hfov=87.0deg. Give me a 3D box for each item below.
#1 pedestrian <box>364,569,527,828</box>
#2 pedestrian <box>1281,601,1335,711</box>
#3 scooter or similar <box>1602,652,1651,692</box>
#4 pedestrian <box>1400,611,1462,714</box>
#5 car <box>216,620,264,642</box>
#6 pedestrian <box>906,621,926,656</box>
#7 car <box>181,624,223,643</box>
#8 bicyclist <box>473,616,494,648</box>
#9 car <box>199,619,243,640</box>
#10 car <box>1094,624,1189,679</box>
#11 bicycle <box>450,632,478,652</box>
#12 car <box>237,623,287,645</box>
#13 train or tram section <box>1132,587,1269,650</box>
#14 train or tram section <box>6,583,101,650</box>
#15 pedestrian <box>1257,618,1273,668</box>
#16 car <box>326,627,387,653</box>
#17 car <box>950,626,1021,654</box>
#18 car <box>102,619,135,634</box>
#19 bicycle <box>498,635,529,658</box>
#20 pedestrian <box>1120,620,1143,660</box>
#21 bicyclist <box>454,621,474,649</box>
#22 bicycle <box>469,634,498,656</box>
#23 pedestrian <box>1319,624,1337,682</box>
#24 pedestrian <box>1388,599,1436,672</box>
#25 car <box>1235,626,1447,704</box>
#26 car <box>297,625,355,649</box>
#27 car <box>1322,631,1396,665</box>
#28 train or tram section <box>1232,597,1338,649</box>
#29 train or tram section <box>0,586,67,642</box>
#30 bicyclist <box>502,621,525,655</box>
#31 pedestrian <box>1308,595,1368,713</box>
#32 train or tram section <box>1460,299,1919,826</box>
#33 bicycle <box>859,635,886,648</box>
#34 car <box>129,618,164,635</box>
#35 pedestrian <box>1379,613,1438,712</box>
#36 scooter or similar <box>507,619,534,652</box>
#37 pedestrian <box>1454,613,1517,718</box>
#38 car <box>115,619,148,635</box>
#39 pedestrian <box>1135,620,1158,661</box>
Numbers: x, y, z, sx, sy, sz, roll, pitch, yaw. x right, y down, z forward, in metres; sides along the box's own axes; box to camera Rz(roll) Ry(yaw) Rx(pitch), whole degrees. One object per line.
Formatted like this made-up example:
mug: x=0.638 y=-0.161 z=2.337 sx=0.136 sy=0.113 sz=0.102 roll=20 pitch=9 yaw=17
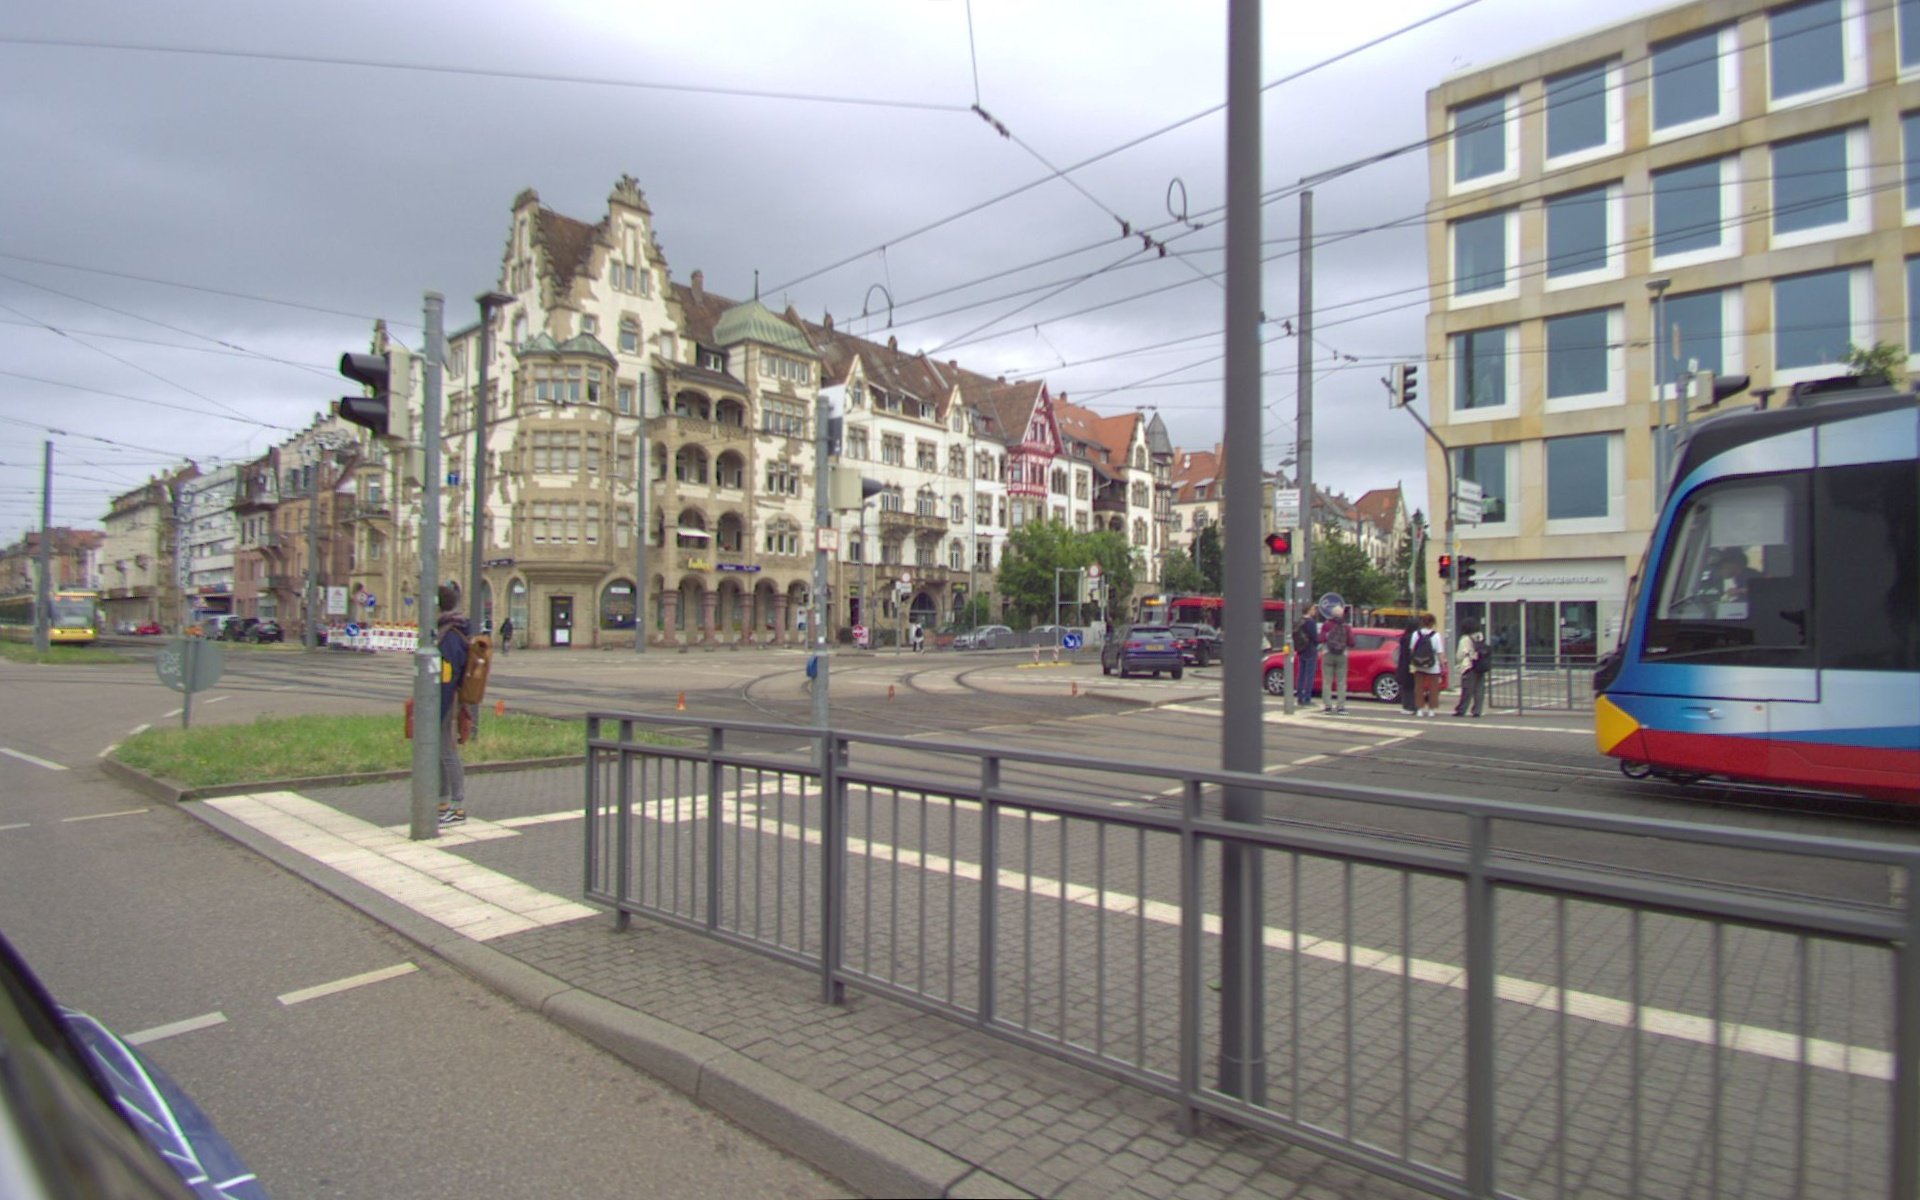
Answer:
pedestrian: x=-3.507 y=0.642 z=6.963 sx=0.644 sy=1.655 sz=0.860 roll=1 pitch=-1 yaw=0
pedestrian: x=6.153 y=0.977 z=17.933 sx=0.739 sy=1.882 sz=0.853 roll=1 pitch=-1 yaw=8
scooter or similar: x=15.687 y=1.676 z=23.803 sx=0.694 sy=0.855 sz=1.467 roll=0 pitch=-1 yaw=44
pedestrian: x=7.539 y=0.995 z=16.211 sx=0.704 sy=1.610 sz=0.526 roll=1 pitch=-1 yaw=-13
car: x=-55.490 y=2.400 z=77.993 sx=3.996 sy=1.608 sz=1.974 roll=0 pitch=-2 yaw=39
pedestrian: x=-2.146 y=1.863 z=49.518 sx=0.704 sy=1.699 sz=0.601 roll=0 pitch=-2 yaw=40
car: x=-65.227 y=2.873 z=87.049 sx=3.996 sy=1.608 sz=1.974 roll=0 pitch=-2 yaw=39
bicyclist: x=-23.790 y=1.605 z=50.500 sx=0.713 sy=1.618 sz=0.860 roll=2 pitch=-3 yaw=-44
car: x=-60.256 y=2.416 z=82.490 sx=3.996 sy=1.608 sz=1.974 roll=0 pitch=-2 yaw=39
car: x=5.313 y=1.489 z=30.123 sx=1.718 sy=1.505 sz=4.371 roll=0 pitch=-2 yaw=-4
bicycle: x=-26.248 y=2.237 z=53.547 sx=0.698 sy=1.045 sz=2.024 roll=2 pitch=-3 yaw=-45
car: x=-50.998 y=2.466 z=73.937 sx=3.996 sy=1.453 sz=1.974 roll=0 pitch=-2 yaw=39
train or tram section: x=15.491 y=1.247 z=63.825 sx=2.601 sy=3.540 sz=13.931 roll=0 pitch=-2 yaw=39
train or tram section: x=-52.406 y=0.920 z=58.303 sx=13.616 sy=3.463 sz=2.616 roll=0 pitch=-2 yaw=42
pedestrian: x=11.296 y=1.588 z=37.438 sx=0.460 sy=1.808 sz=0.412 roll=0 pitch=-2 yaw=32
car: x=-36.928 y=2.423 z=61.890 sx=3.996 sy=1.453 sz=1.974 roll=0 pitch=-2 yaw=39
car: x=1.446 y=2.235 z=56.798 sx=1.800 sy=1.522 sz=3.943 roll=0 pitch=-2 yaw=43
car: x=-92.529 y=2.931 z=111.271 sx=3.996 sy=1.608 sz=1.974 roll=0 pitch=-2 yaw=39
bicycle: x=-20.703 y=2.164 z=46.912 sx=0.739 sy=1.045 sz=1.917 roll=2 pitch=-4 yaw=-42
pedestrian: x=7.651 y=1.796 z=45.193 sx=0.683 sy=1.767 sz=0.848 roll=0 pitch=-2 yaw=37
bicyclist: x=-26.249 y=1.870 z=53.561 sx=0.698 sy=1.455 sz=0.973 roll=2 pitch=-3 yaw=-45
bicycle: x=-23.758 y=2.247 z=50.439 sx=0.713 sy=1.045 sz=1.911 roll=2 pitch=-3 yaw=-43
pedestrian: x=11.634 y=1.652 z=31.964 sx=0.460 sy=1.808 sz=0.412 roll=0 pitch=-2 yaw=32
pedestrian: x=12.958 y=1.003 z=28.982 sx=0.997 sy=2.029 sz=1.032 roll=0 pitch=-2 yaw=41
car: x=7.837 y=1.275 z=20.997 sx=3.767 sy=1.460 sz=1.721 roll=-1 pitch=-2 yaw=41
car: x=-41.121 y=2.377 z=65.586 sx=3.996 sy=1.453 sz=1.974 roll=0 pitch=-2 yaw=39
car: x=17.537 y=2.078 z=44.412 sx=1.796 sy=1.431 sz=3.651 roll=-1 pitch=-2 yaw=43
train or tram section: x=24.217 y=1.765 z=74.681 sx=2.601 sy=3.540 sz=13.931 roll=0 pitch=-2 yaw=39
train or tram section: x=-62.386 y=0.903 z=67.526 sx=13.616 sy=3.463 sz=2.616 roll=0 pitch=-2 yaw=42
bicyclist: x=-20.705 y=1.770 z=46.922 sx=0.739 sy=1.532 sz=0.766 roll=2 pitch=-4 yaw=-42
pedestrian: x=6.221 y=0.873 z=16.709 sx=0.739 sy=1.882 sz=0.853 roll=1 pitch=-1 yaw=8
train or tram section: x=9.781 y=-0.237 z=6.179 sx=11.760 sy=3.668 sz=2.825 roll=0 pitch=-2 yaw=41
bicycle: x=-5.478 y=2.568 z=63.198 sx=1.803 sy=0.744 sz=0.554 roll=0 pitch=-2 yaw=42
car: x=-83.517 y=2.702 z=103.934 sx=3.996 sy=1.608 sz=1.974 roll=0 pitch=-2 yaw=39
pedestrian: x=7.407 y=1.026 z=16.736 sx=0.704 sy=1.610 sz=0.526 roll=1 pitch=-1 yaw=-13
scooter or similar: x=-23.278 y=1.871 z=53.594 sx=1.829 sy=1.728 sz=0.558 roll=0 pitch=-2 yaw=40
pedestrian: x=8.320 y=1.018 z=16.052 sx=0.701 sy=1.610 sz=0.714 roll=1 pitch=-1 yaw=10
car: x=-88.496 y=2.847 z=108.093 sx=3.996 sy=1.608 sz=1.974 roll=0 pitch=-2 yaw=39
pedestrian: x=8.224 y=1.796 z=44.723 sx=0.683 sy=1.767 sz=0.848 roll=0 pitch=-2 yaw=37
